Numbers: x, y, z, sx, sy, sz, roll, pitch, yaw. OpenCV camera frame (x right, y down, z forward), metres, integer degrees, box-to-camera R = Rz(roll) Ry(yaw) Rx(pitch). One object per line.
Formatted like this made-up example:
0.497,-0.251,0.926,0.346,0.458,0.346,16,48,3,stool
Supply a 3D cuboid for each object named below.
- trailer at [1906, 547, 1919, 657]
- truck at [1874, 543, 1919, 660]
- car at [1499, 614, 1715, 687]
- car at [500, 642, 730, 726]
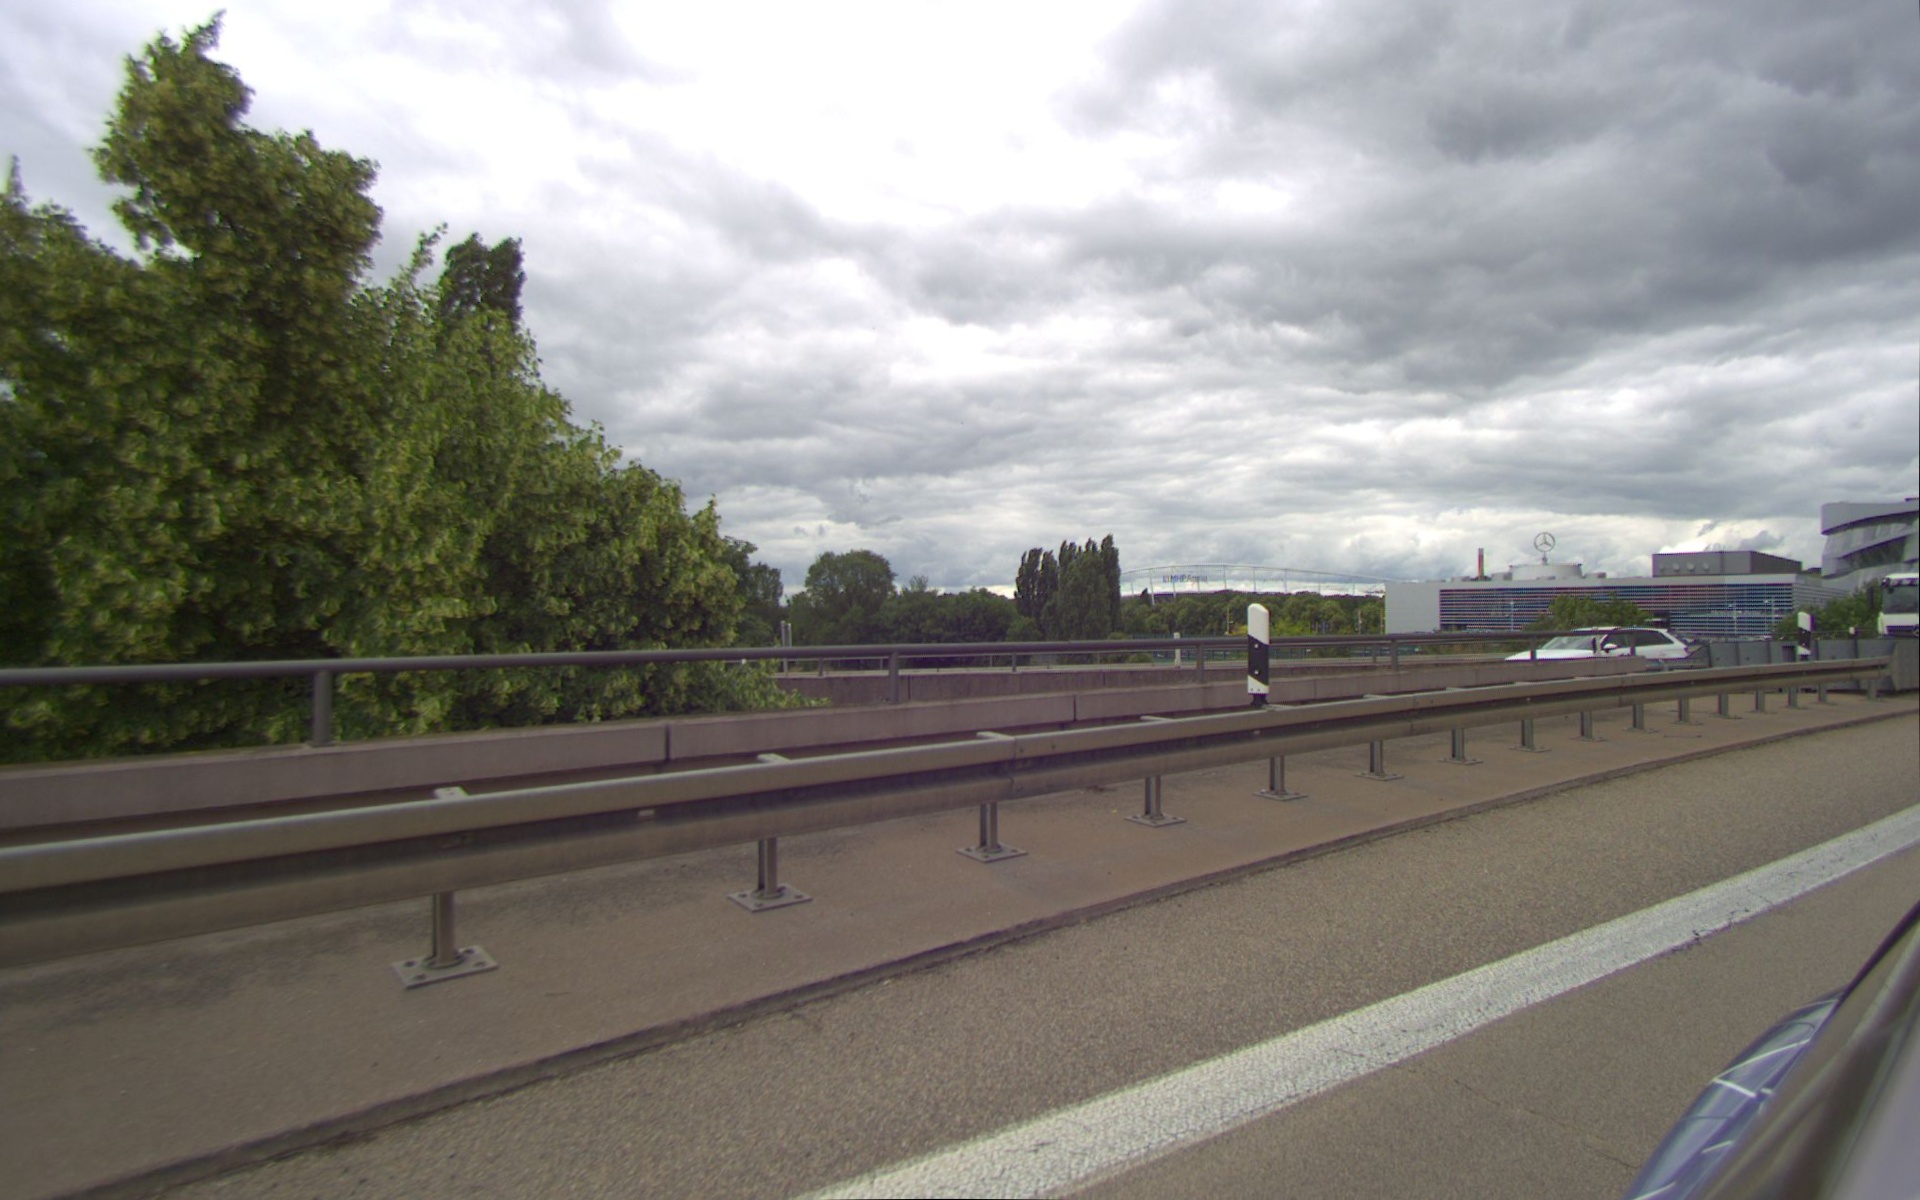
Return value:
37.156,0.058,35.567,10.785,3.696,2.752,0,0,-30,trailer
32.836,0.044,33.026,6.076,3.692,2.739,0,0,-30,truck
14.061,1.093,22.063,3.852,1.428,1.793,0,-4,-16,car
-6.681,1.621,19.833,3.928,1.500,1.734,-1,-3,5,car
